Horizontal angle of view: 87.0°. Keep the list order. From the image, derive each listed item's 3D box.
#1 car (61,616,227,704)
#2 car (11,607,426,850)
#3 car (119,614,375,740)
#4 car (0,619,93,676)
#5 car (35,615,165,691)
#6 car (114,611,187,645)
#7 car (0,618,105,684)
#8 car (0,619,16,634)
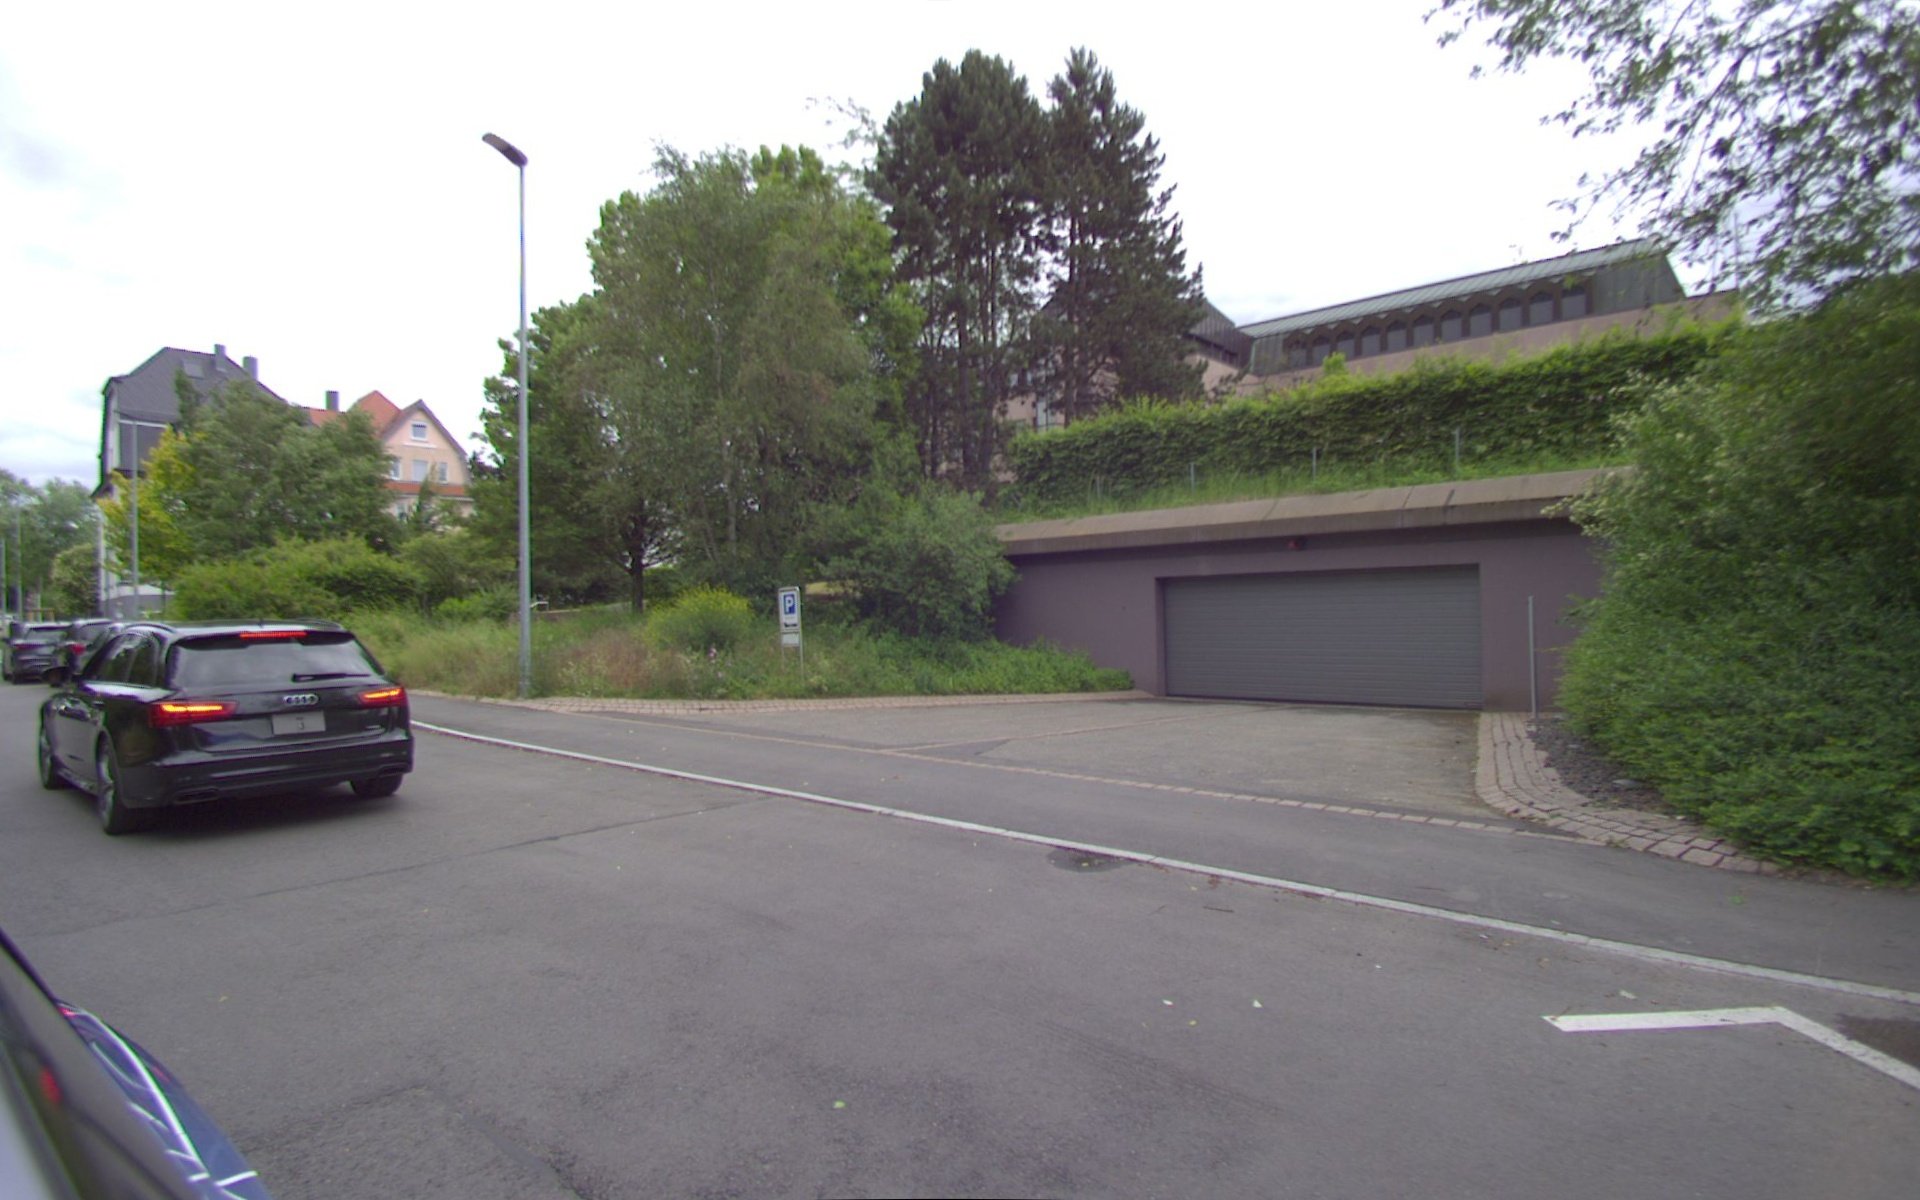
[{"bbox_3d":[-14.978,1.024,18.491,4.348,1.443,1.607,-1,-2,41],"label":"car"},{"bbox_3d":[-6.181,0.815,8.210,4.487,1.436,1.762,-1,-1,41],"label":"car"},{"bbox_3d":[-10.122,0.962,14.189,5.102,1.442,1.760,-1,-1,41],"label":"car"},{"bbox_3d":[-26.078,1.292,28.702,4.691,1.493,1.665,-1,-2,42],"label":"car"},{"bbox_3d":[-18.572,1.089,21.810,3.999,1.493,1.607,-1,-2,42],"label":"car"},{"bbox_3d":[-42.650,1.449,53.308,4.590,1.544,1.888,0,3,37],"label":"car"},{"bbox_3d":[-22.652,1.211,25.074,4.495,1.493,1.688,-1,-2,43],"label":"car"},{"bbox_3d":[-94.565,2.591,99.798,1.709,1.439,3.465,1,-1,-37],"label":"car"}]
